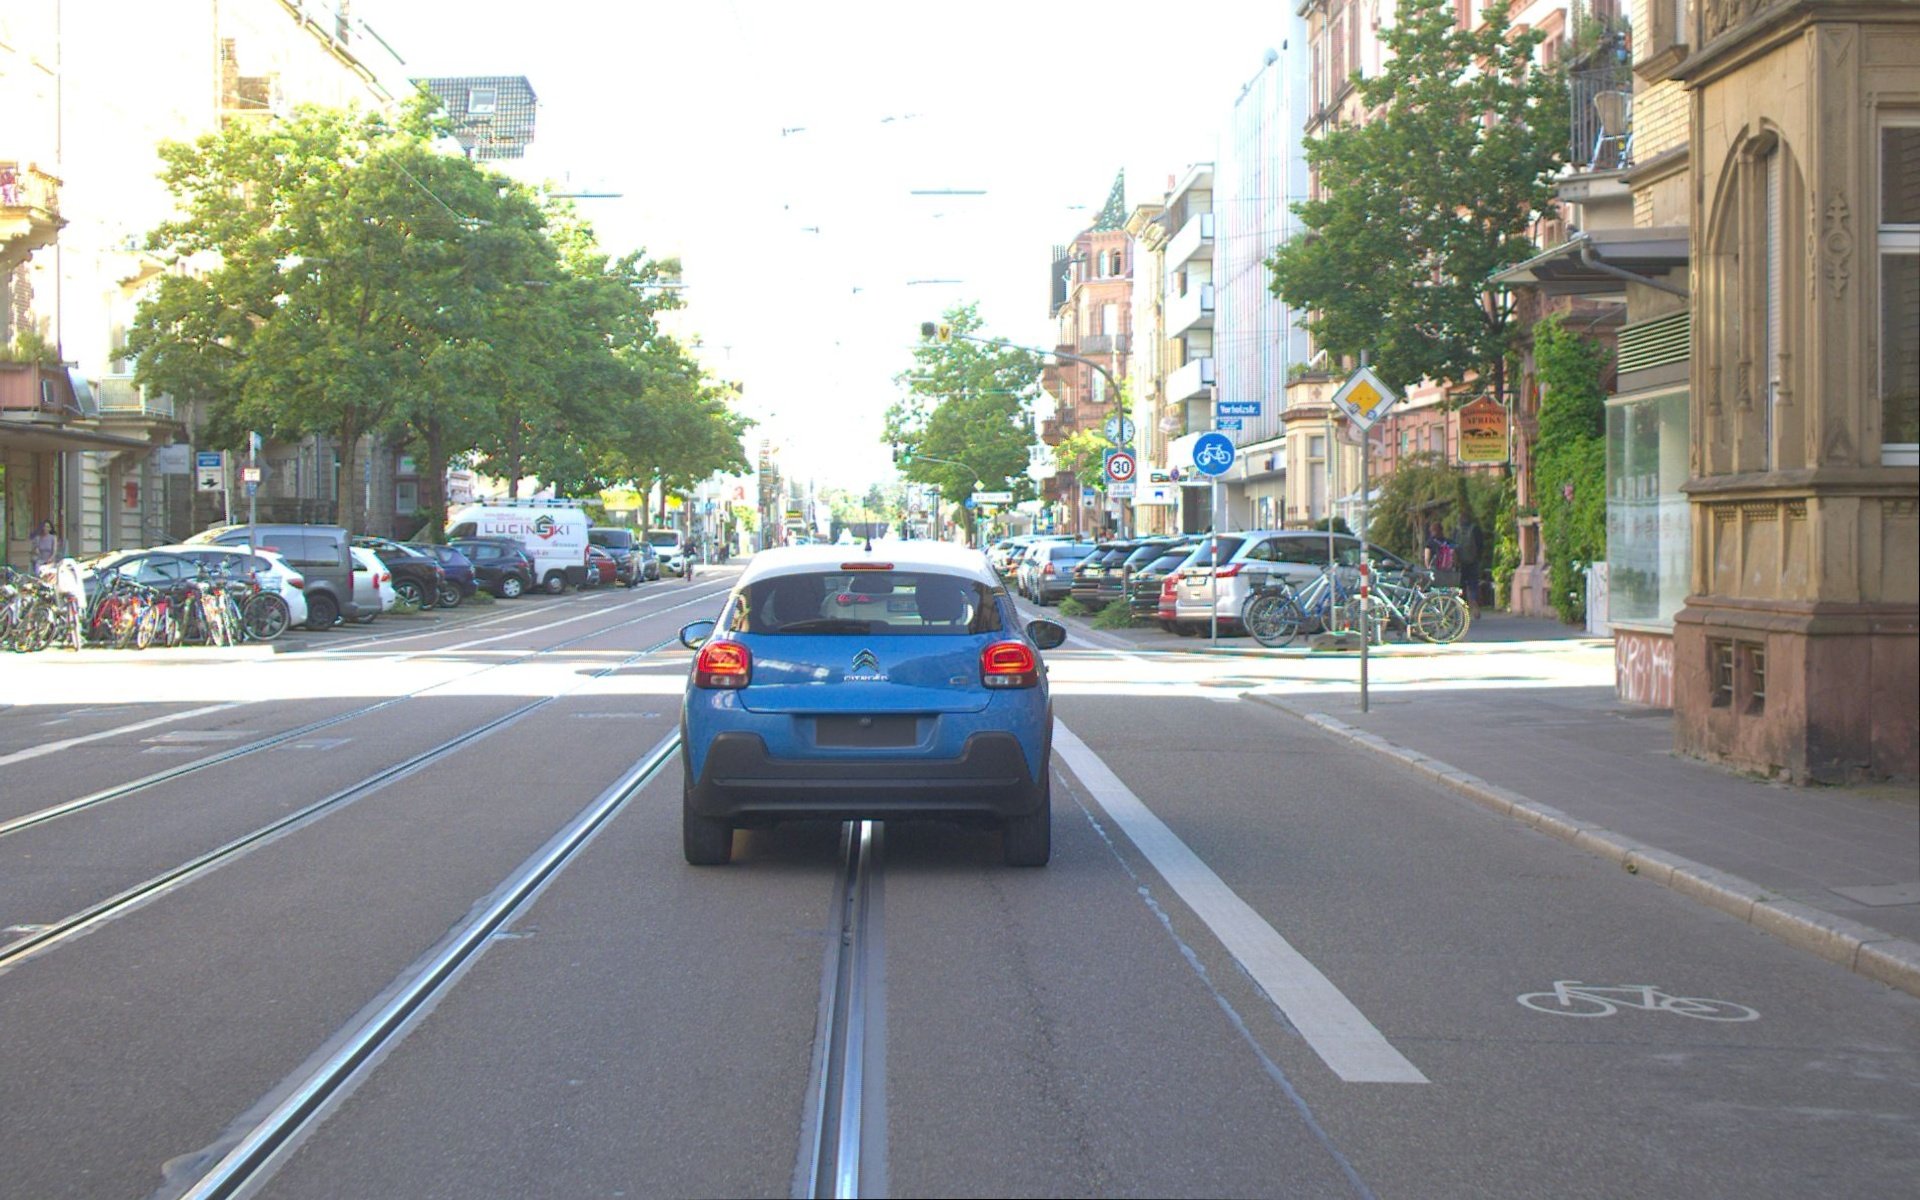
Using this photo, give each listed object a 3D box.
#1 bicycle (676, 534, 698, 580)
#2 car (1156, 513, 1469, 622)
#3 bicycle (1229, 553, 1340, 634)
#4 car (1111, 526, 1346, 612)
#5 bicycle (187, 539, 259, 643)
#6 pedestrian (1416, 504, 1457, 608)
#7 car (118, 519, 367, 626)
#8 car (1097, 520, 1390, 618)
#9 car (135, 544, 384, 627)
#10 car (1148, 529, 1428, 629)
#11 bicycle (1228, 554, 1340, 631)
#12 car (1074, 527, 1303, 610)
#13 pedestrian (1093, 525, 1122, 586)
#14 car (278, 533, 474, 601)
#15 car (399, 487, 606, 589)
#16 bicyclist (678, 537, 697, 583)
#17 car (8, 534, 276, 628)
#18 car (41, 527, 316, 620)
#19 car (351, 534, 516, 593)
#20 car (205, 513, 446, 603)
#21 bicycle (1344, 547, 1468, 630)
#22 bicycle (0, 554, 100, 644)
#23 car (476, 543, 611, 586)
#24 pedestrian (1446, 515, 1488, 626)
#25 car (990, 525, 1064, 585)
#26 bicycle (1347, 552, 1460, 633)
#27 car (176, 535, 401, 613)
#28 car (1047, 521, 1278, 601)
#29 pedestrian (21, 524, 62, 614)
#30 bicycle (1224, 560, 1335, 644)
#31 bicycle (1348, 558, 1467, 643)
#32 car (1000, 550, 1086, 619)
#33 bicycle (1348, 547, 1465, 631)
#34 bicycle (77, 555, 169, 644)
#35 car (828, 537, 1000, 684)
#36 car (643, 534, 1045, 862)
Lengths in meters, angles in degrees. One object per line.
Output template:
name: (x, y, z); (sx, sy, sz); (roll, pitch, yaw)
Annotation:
bicycle: (-10.068, -1.602, 126.781); (0.680, 1.673, 2.097); (1, 1, -1)
car: (5.333, -0.483, 51.973); (4.350, 1.590, 1.854); (0, 1, -25)
bicycle: (4.600, -0.091, 48.753); (1.560, 1.123, 0.294); (1, 1, 6)
car: (5.088, -0.580, 65.141); (3.986, 1.590, 1.960); (0, 1, -25)
bicycle: (-10.193, -0.145, 47.614); (0.681, 1.315, 2.436); (0, 3, -5)
pedestrian: (7.644, -0.705, 55.165); (0.518, 1.643, 0.864); (1, 1, -1)
car: (-12.300, -0.466, 58.965); (3.810, 1.778, 1.797); (0, 1, -29)
car: (4.749, -0.518, 57.587); (4.433, 1.590, 2.089); (0, 1, -25)
car: (-12.529, -0.262, 61.538); (4.006, 1.444, 1.699); (0, 1, -33)
car: (5.186, -0.330, 54.386); (3.986, 1.531, 1.919); (0, 1, -25)
bicycle: (4.557, -0.110, 48.410); (1.556, 1.075, 0.307); (1, 1, 6)
car: (4.514, -0.620, 67.886); (3.986, 1.590, 2.088); (0, 1, -25)
pedestrian: (3.914, -1.180, 91.439); (0.711, 1.601, 0.654); (0, 1, -2)
car: (-13.230, -0.743, 77.890); (3.986, 1.484, 1.806); (0, 1, -29)
car: (-12.663, -1.689, 95.280); (5.370, 2.739, 1.806); (0, 1, -31)
bicyclist: (-10.057, -1.478, 126.701); (0.634, 1.675, 0.727); (1, 1, -1)
car: (-11.948, -0.279, 50.277); (3.460, 1.333, 1.624); (0, 1, -35)
car: (-12.078, -0.409, 53.185); (3.780, 1.395, 1.755); (0, 1, -34)
car: (-13.680, -0.953, 89.258); (3.986, 1.484, 1.807); (0, 1, -17)
car: (-12.853, -0.838, 69.679); (4.353, 1.777, 1.996); (0, 1, -33)
bicycle: (6.151, -0.166, 47.487); (1.675, 1.123, 0.551); (1, 1, 6)
bicycle: (-12.699, -0.028, 46.634); (2.433, 1.105, 0.682); (3, 4, 39)
car: (-12.755, -1.083, 105.220); (3.796, 1.261, 1.516); (0, 1, -26)
pedestrian: (8.182, -0.480, 55.521); (0.518, 1.772, 0.864); (1, 1, -1)
car: (1.820, -1.227, 94.324); (1.873, 1.590, 4.000); (1, 1, -1)
bicycle: (6.270, -0.113, 48.600); (1.556, 1.123, 0.551); (1, 1, 6)
car: (-12.669, -0.486, 64.898); (3.831, 1.425, 1.766); (0, 1, -27)
car: (4.149, -0.798, 70.513); (4.302, 1.590, 1.983); (0, 1, -25)
pedestrian: (-17.013, -0.579, 63.682); (0.569, 1.647, 0.641); (1, 1, -1)
bicycle: (4.324, 0.026, 46.602); (1.397, 1.123, 0.551); (0, 1, -9)
bicycle: (6.020, 0.002, 46.327); (1.556, 1.123, 0.551); (1, 1, 6)
car: (1.963, -0.392, 82.680); (1.873, 1.590, 4.719); (1, 1, -1)
bicycle: (6.092, -0.147, 46.911); (1.556, 1.123, 0.528); (1, 1, 6)
bicycle: (-11.517, -0.021, 47.274); (0.681, 1.119, 1.888); (-1, 4, -32)
car: (-0.533, 0.086, 39.624); (1.873, 1.590, 4.000); (1, 1, -1)
car: (-0.555, 0.411, 16.950); (1.762, 1.436, 3.557); (1, 1, -1)
